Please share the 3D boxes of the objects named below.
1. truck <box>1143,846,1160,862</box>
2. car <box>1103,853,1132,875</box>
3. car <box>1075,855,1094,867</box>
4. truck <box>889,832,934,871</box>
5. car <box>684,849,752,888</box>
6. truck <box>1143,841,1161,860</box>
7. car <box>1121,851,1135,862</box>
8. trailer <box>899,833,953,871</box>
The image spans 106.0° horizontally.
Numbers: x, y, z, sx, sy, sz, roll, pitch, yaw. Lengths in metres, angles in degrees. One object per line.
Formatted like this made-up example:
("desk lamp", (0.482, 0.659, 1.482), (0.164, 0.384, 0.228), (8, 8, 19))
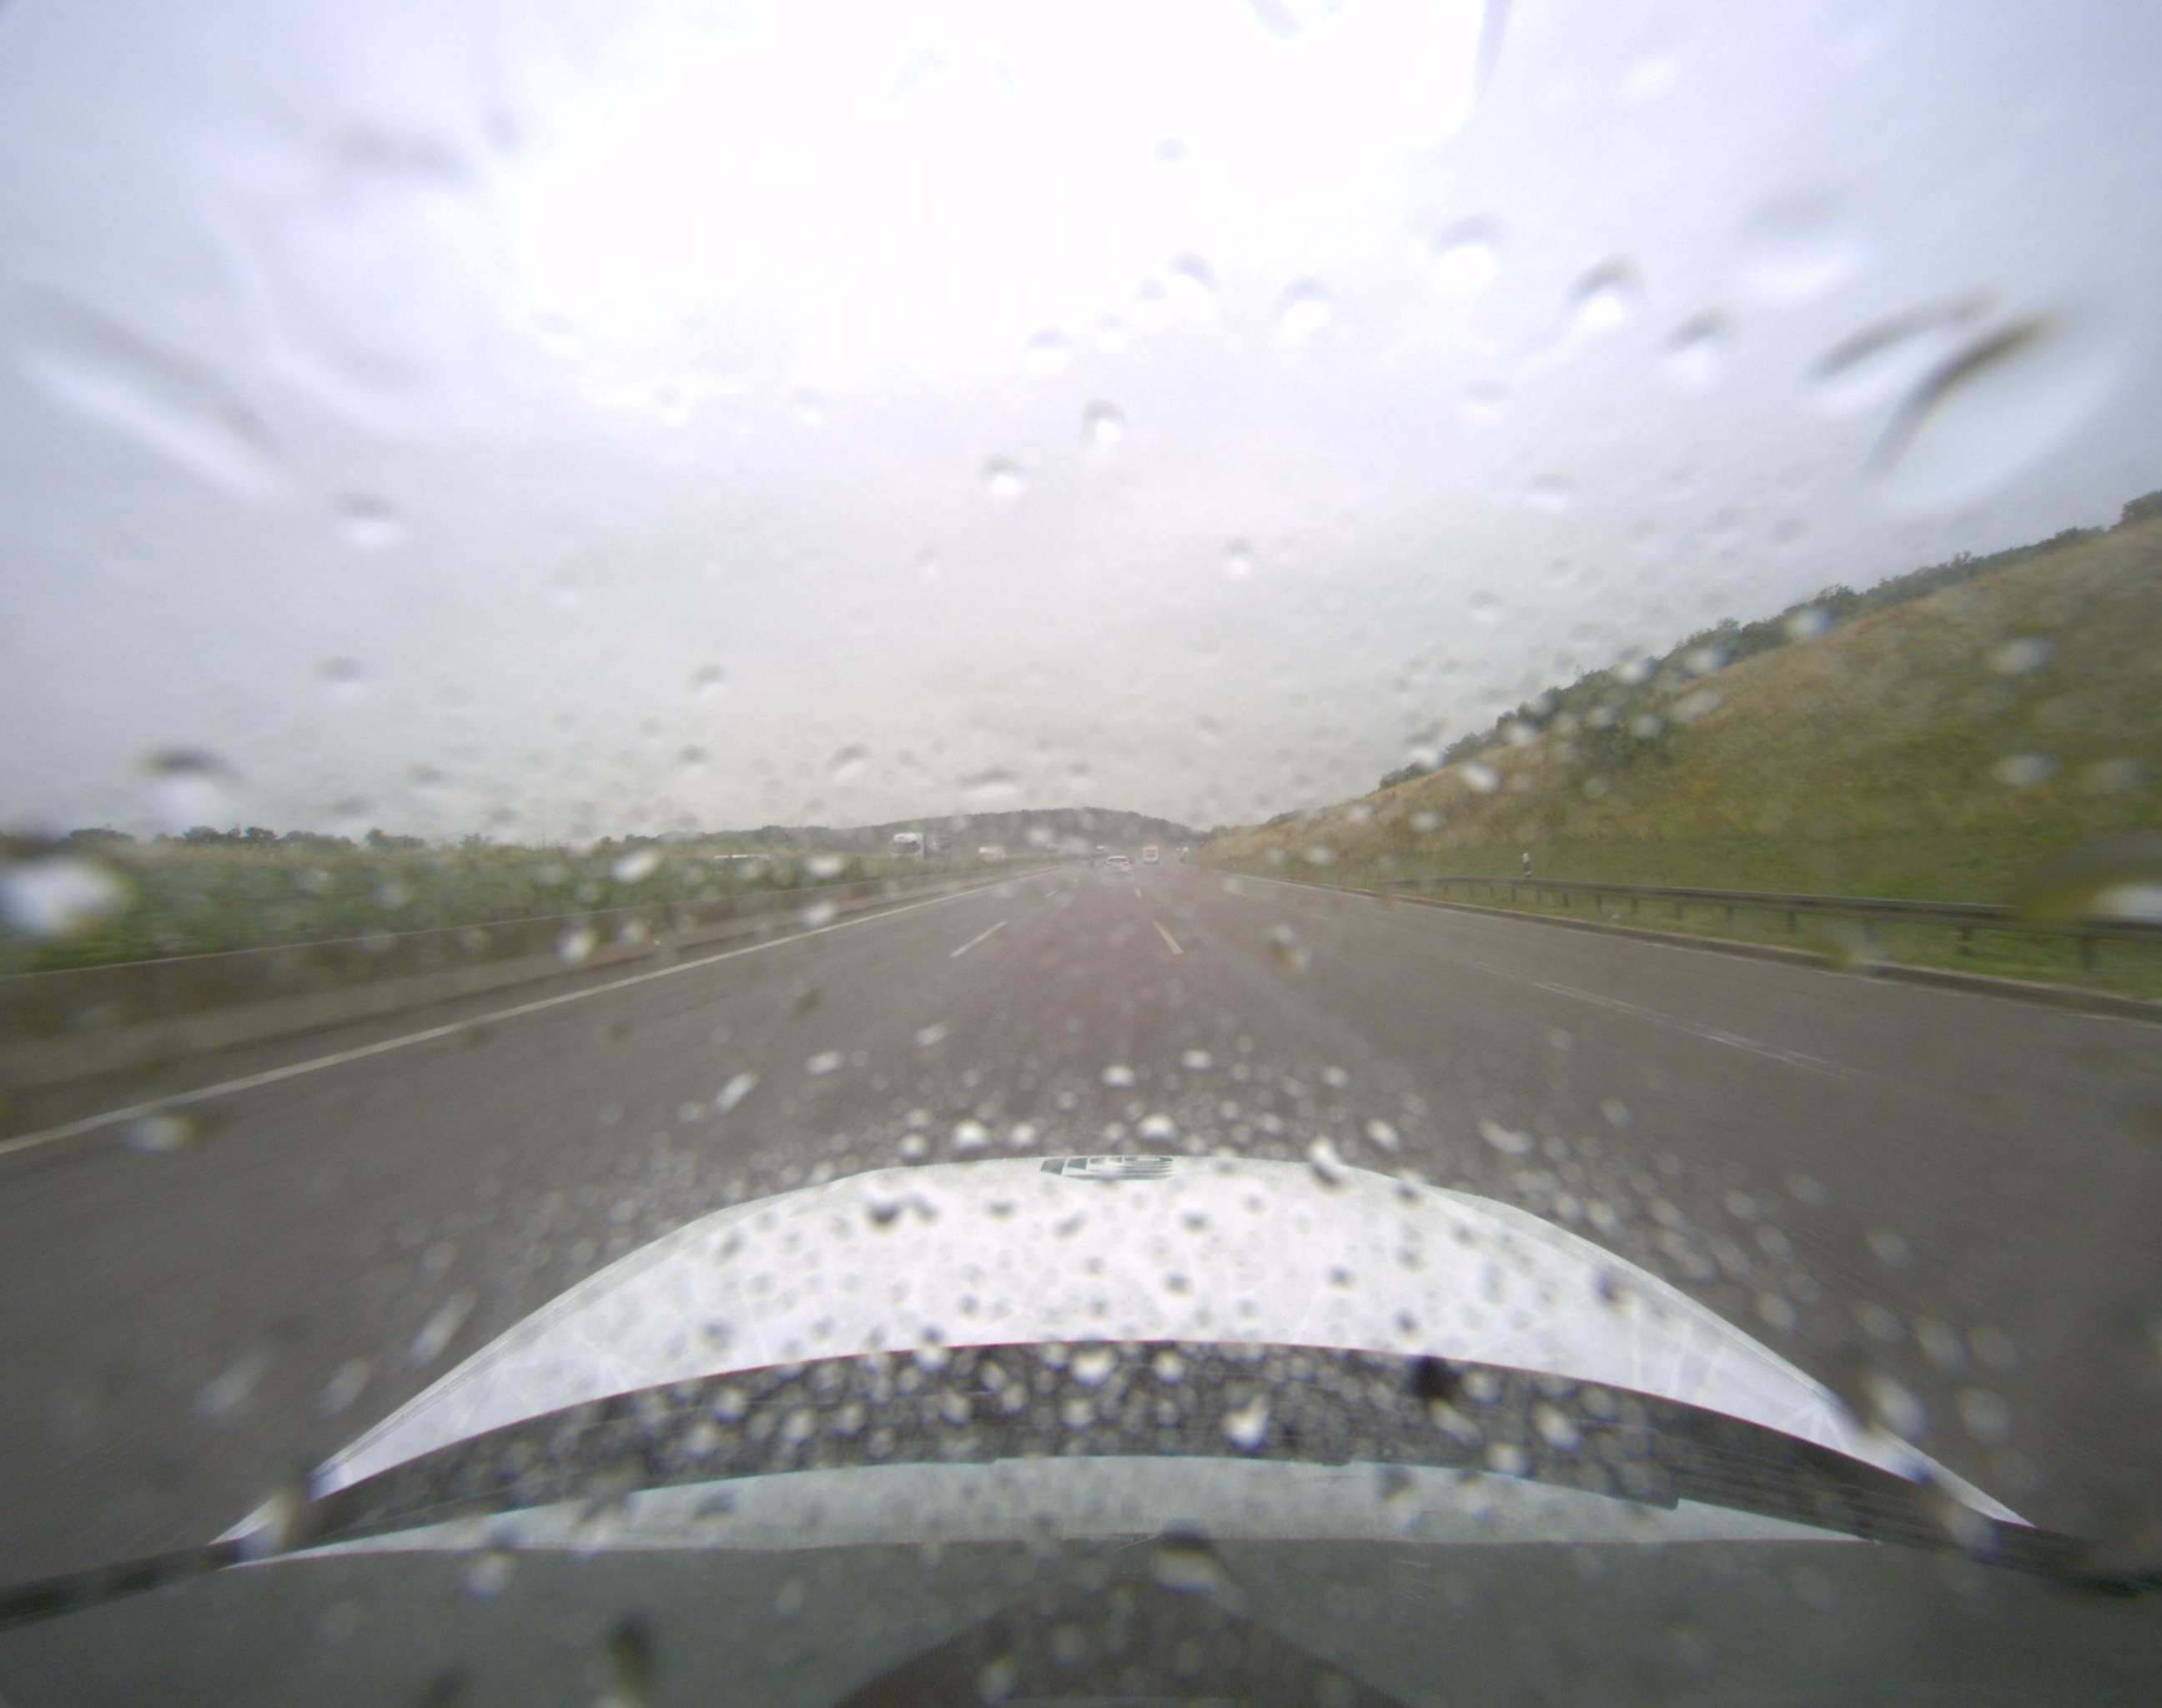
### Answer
("truck", (10.663, 0.030, 123.610), (2.397, 2.252, 4.698), (-1, 0, 4))
("car", (2.489, 0.687, 55.665), (1.860, 1.463, 4.001), (-1, -1, 2))
("car", (0.349, 0.750, 85.316), (1.819, 1.156, 4.208), (0, -1, -3))
("truck", (-16.248, -0.195, 78.268), (2.767, 3.608, 5.745), (0, -1, 4))
("car", (-14.944, 0.599, 33.658), (1.336, 1.529, 3.020), (0, -1, 2))
("truck", (14.947, -0.801, 172.261), (3.513, 3.742, 11.435), (0, 1, 3))
("car", (7.084, 0.443, 123.748), (1.986, 1.618, 4.002), (-1, 0, 2))
("trailer", (-15.809, -0.104, 84.101), (2.751, 3.621, 11.160), (0, -1, 4))
